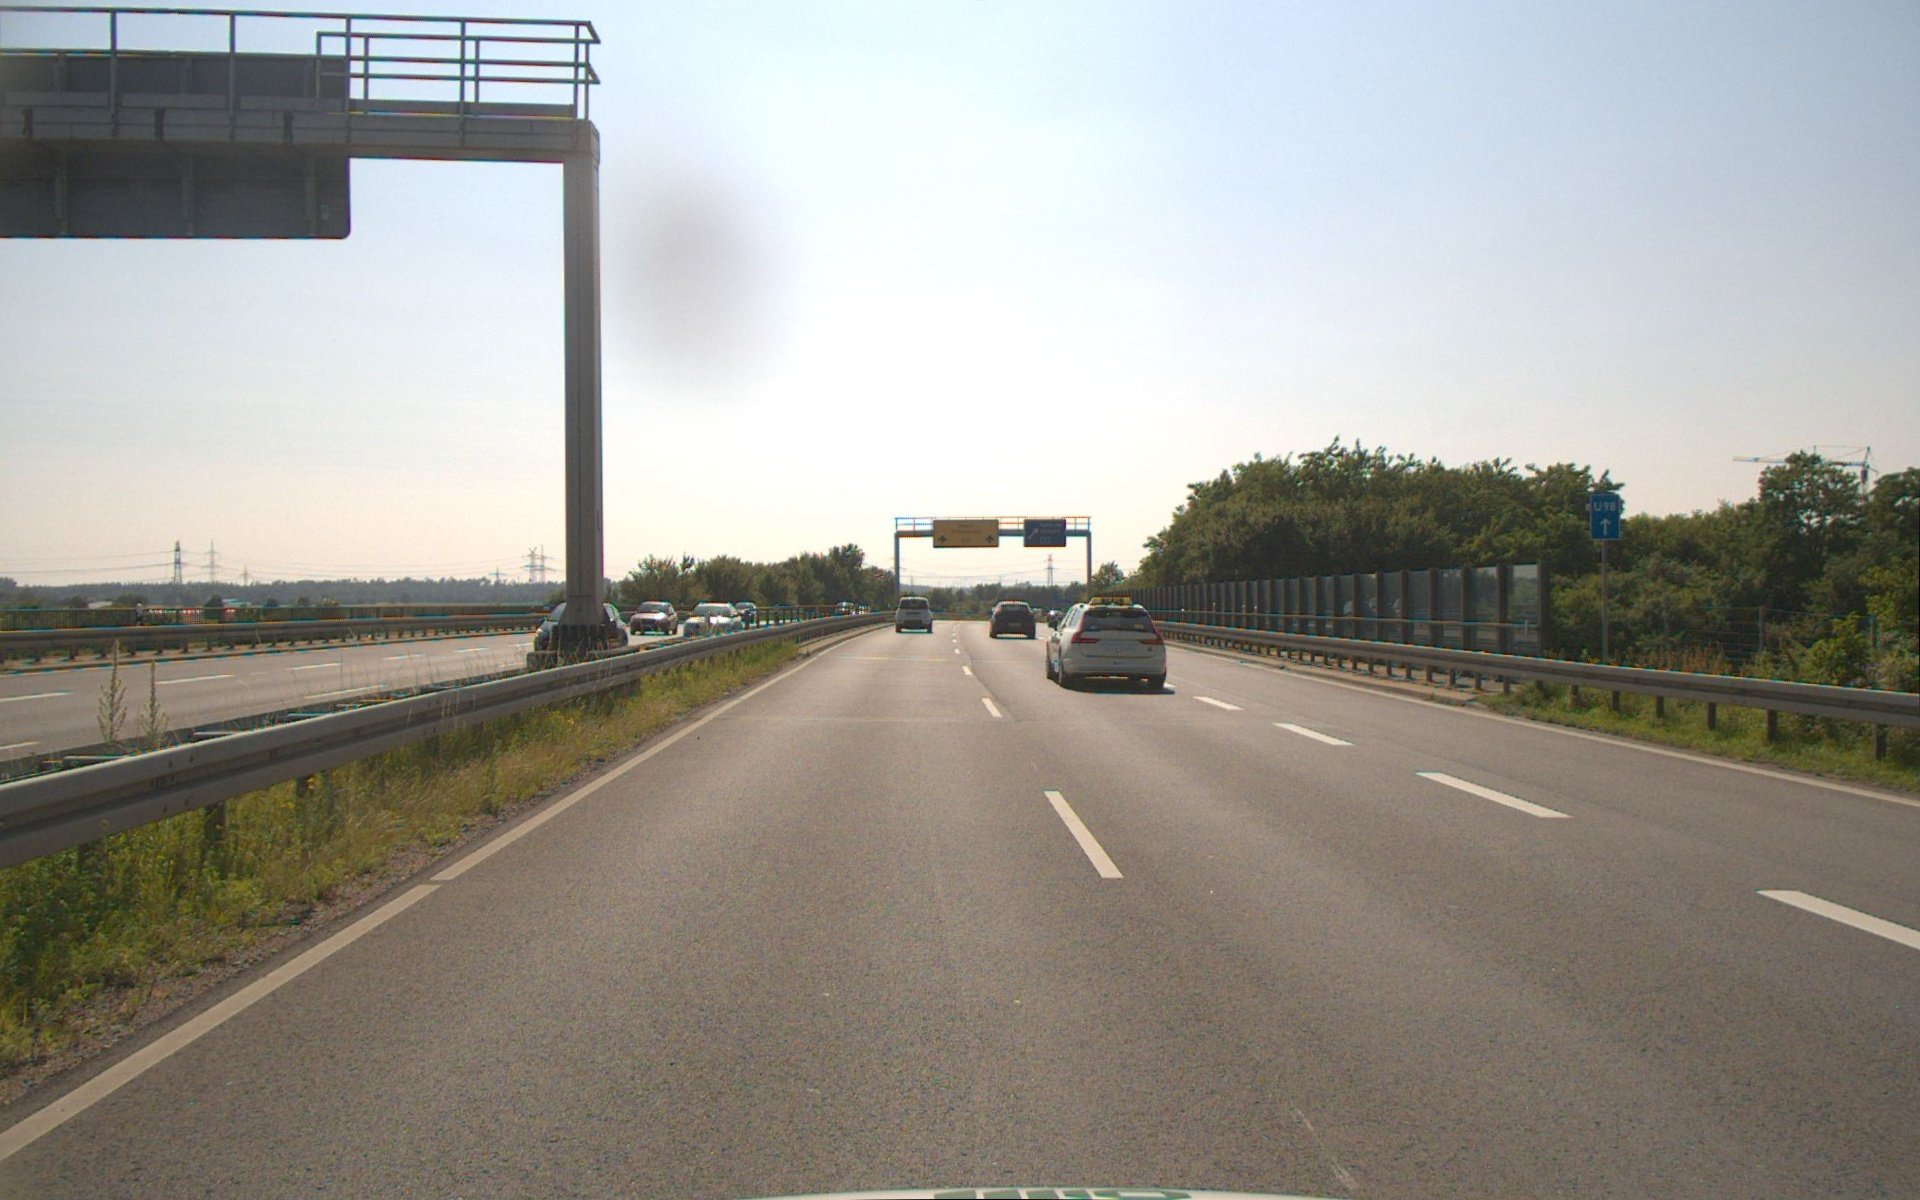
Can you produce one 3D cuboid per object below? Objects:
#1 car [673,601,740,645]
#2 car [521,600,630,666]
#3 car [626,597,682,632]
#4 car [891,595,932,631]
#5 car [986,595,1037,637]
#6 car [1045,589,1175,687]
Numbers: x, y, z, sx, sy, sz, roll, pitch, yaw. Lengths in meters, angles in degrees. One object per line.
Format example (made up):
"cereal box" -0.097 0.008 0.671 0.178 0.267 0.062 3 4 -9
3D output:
"car" -9.095 0.807 59.692 1.836 1.463 4.500 1 0 -2
"car" -9.488 0.778 41.092 1.758 1.499 4.000 1 0 0
"car" -13.496 0.616 73.079 1.788 1.453 4.529 1 0 -2
"car" -2.143 0.588 73.933 1.756 1.529 4.042 0 -1 0
"car" 2.007 0.634 65.523 1.757 1.570 3.670 1 -1 -2
"car" 2.644 0.636 30.008 1.918 1.629 4.106 1 0 -1
